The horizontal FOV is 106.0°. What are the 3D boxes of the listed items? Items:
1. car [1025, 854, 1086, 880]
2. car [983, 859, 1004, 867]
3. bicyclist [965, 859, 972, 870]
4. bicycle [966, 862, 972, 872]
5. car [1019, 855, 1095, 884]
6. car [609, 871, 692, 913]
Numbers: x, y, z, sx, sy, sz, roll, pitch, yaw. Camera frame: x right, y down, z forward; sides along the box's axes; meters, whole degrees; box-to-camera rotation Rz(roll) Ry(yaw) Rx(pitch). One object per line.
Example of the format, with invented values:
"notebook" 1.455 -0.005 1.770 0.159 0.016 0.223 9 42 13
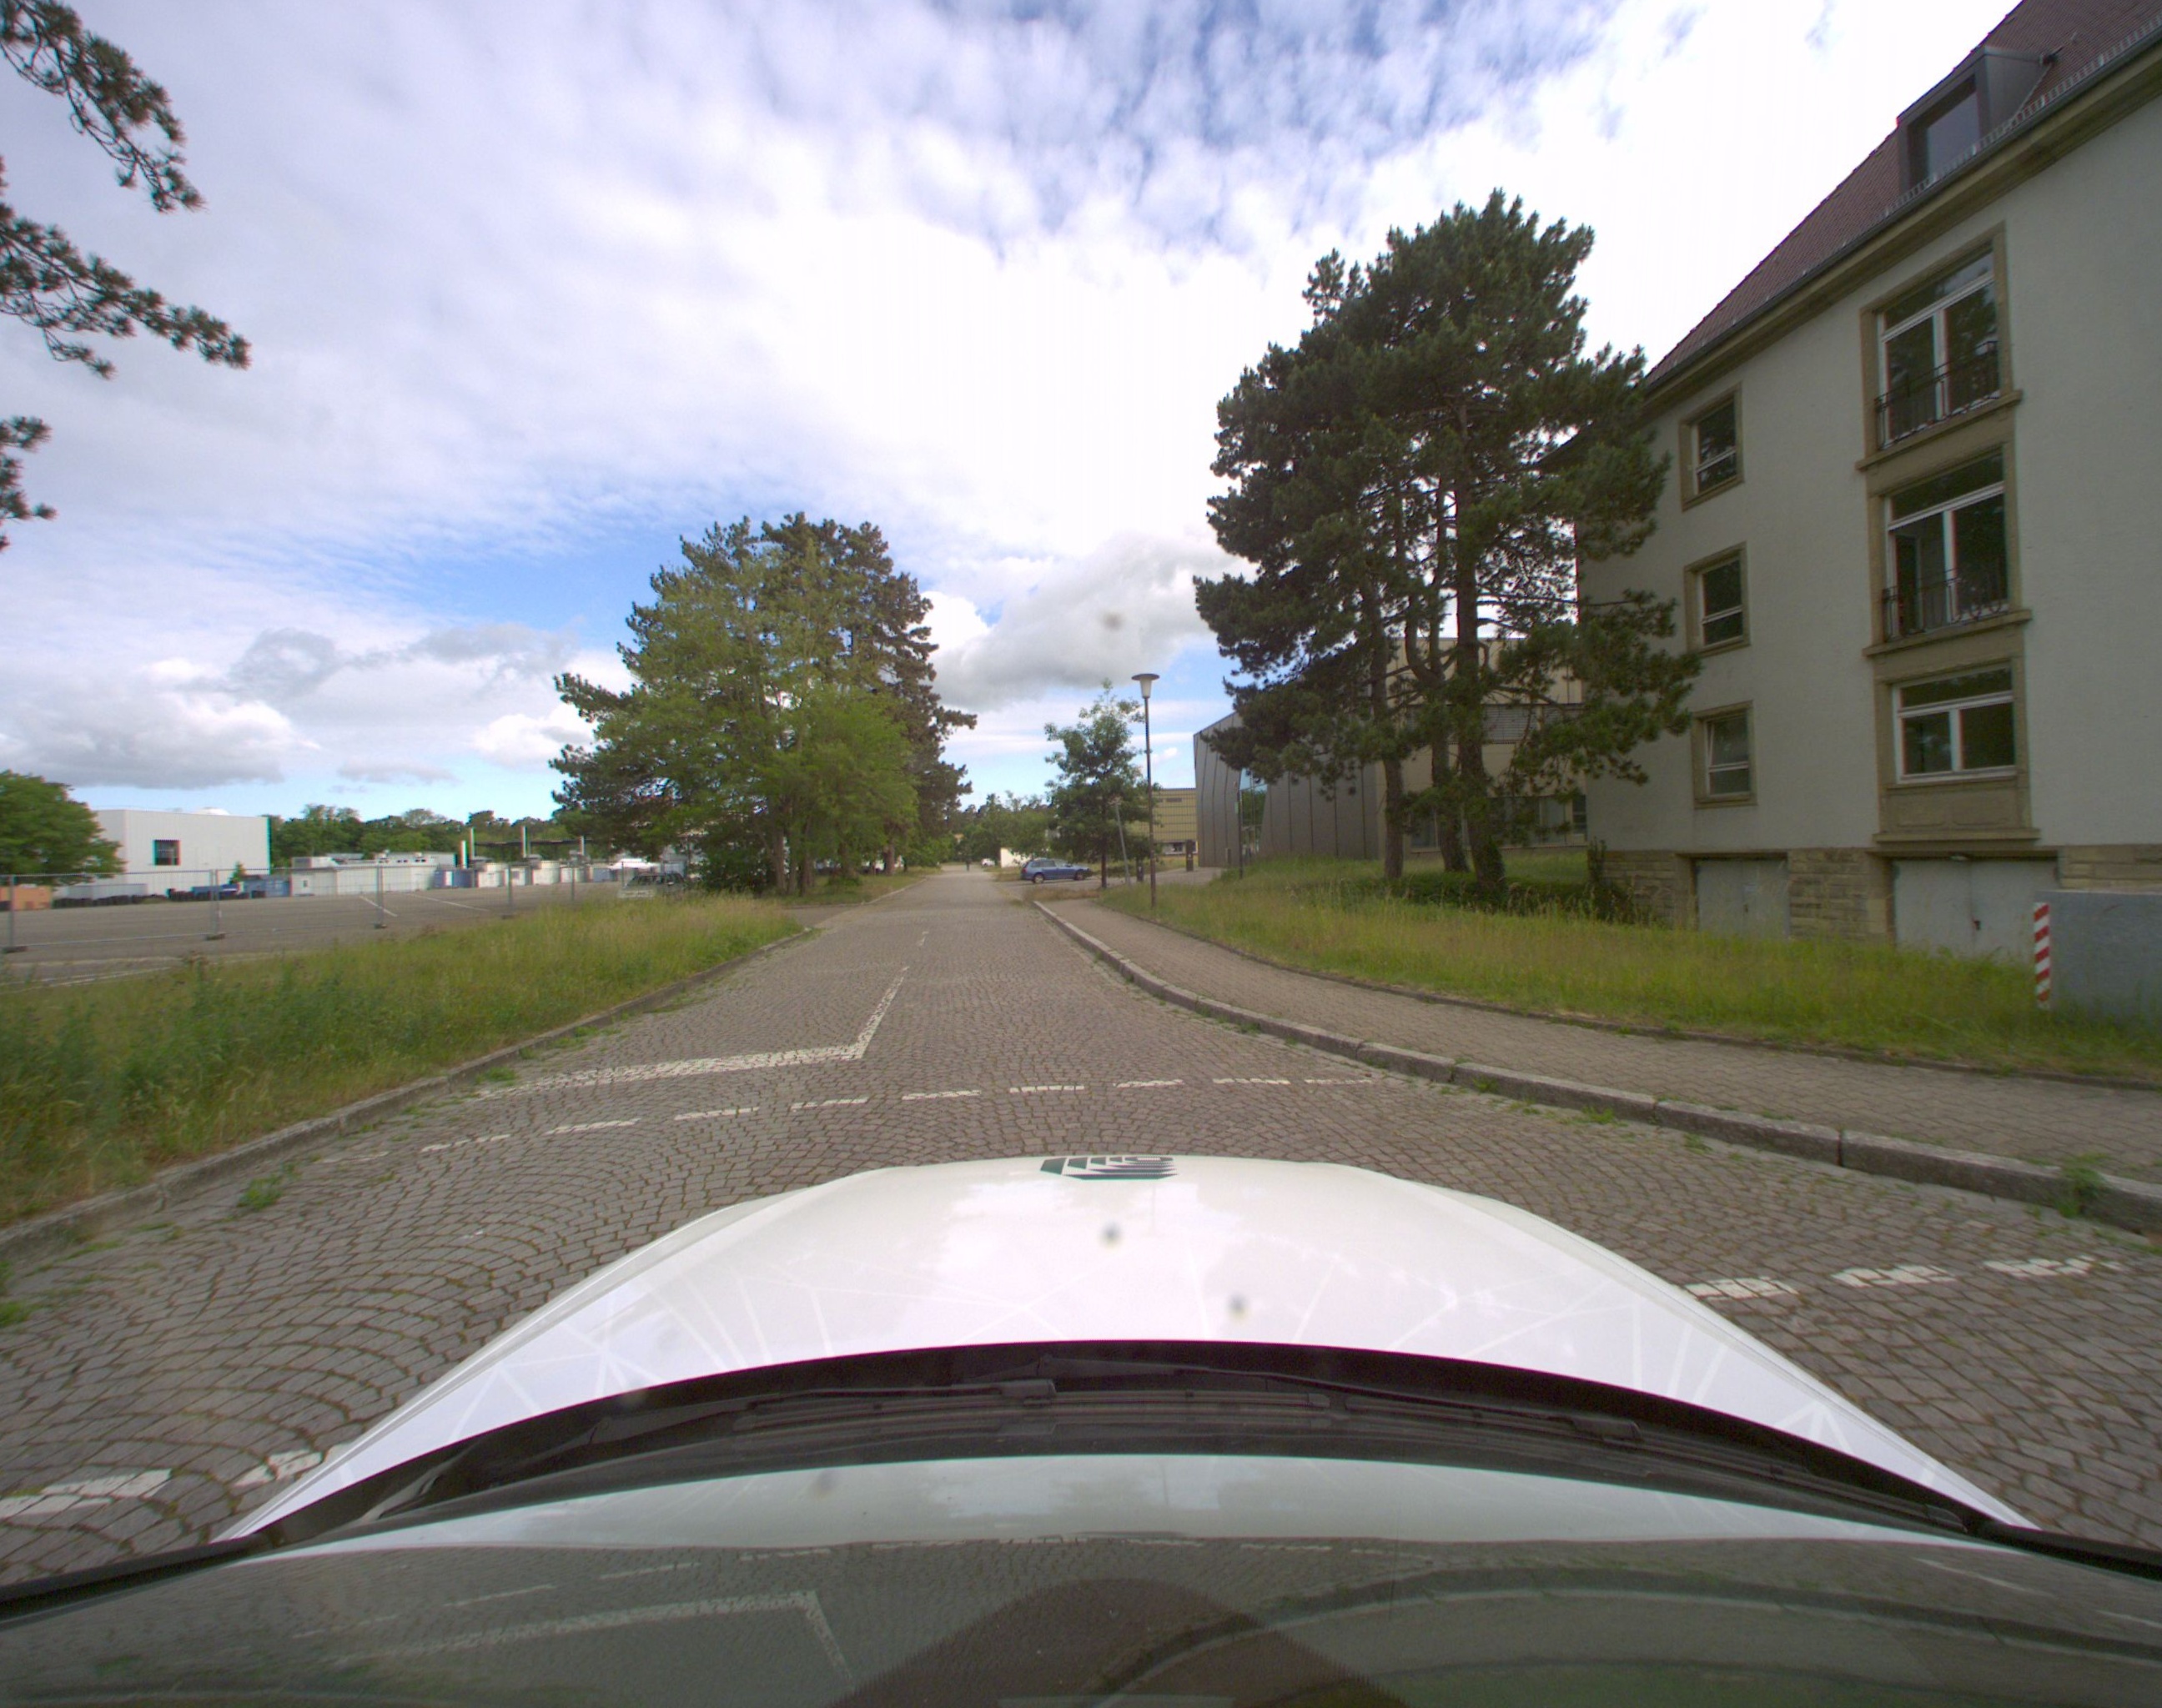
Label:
"car" -1.824 0.931 58.773 4.109 1.572 1.758 -4 0 -11
"car" -18.243 1.884 169.601 4.318 1.549 1.995 -2 0 -7
"bicyclist" -15.694 1.449 113.855 0.897 1.542 0.865 -2 1 -9
"bicycle" -15.676 1.826 113.845 0.823 1.376 2.036 -2 1 -9
"car" -1.542 0.981 51.297 4.483 1.462 1.927 -4 0 -11
"car" -17.808 1.524 33.920 1.729 1.432 4.149 -2 1 -9
